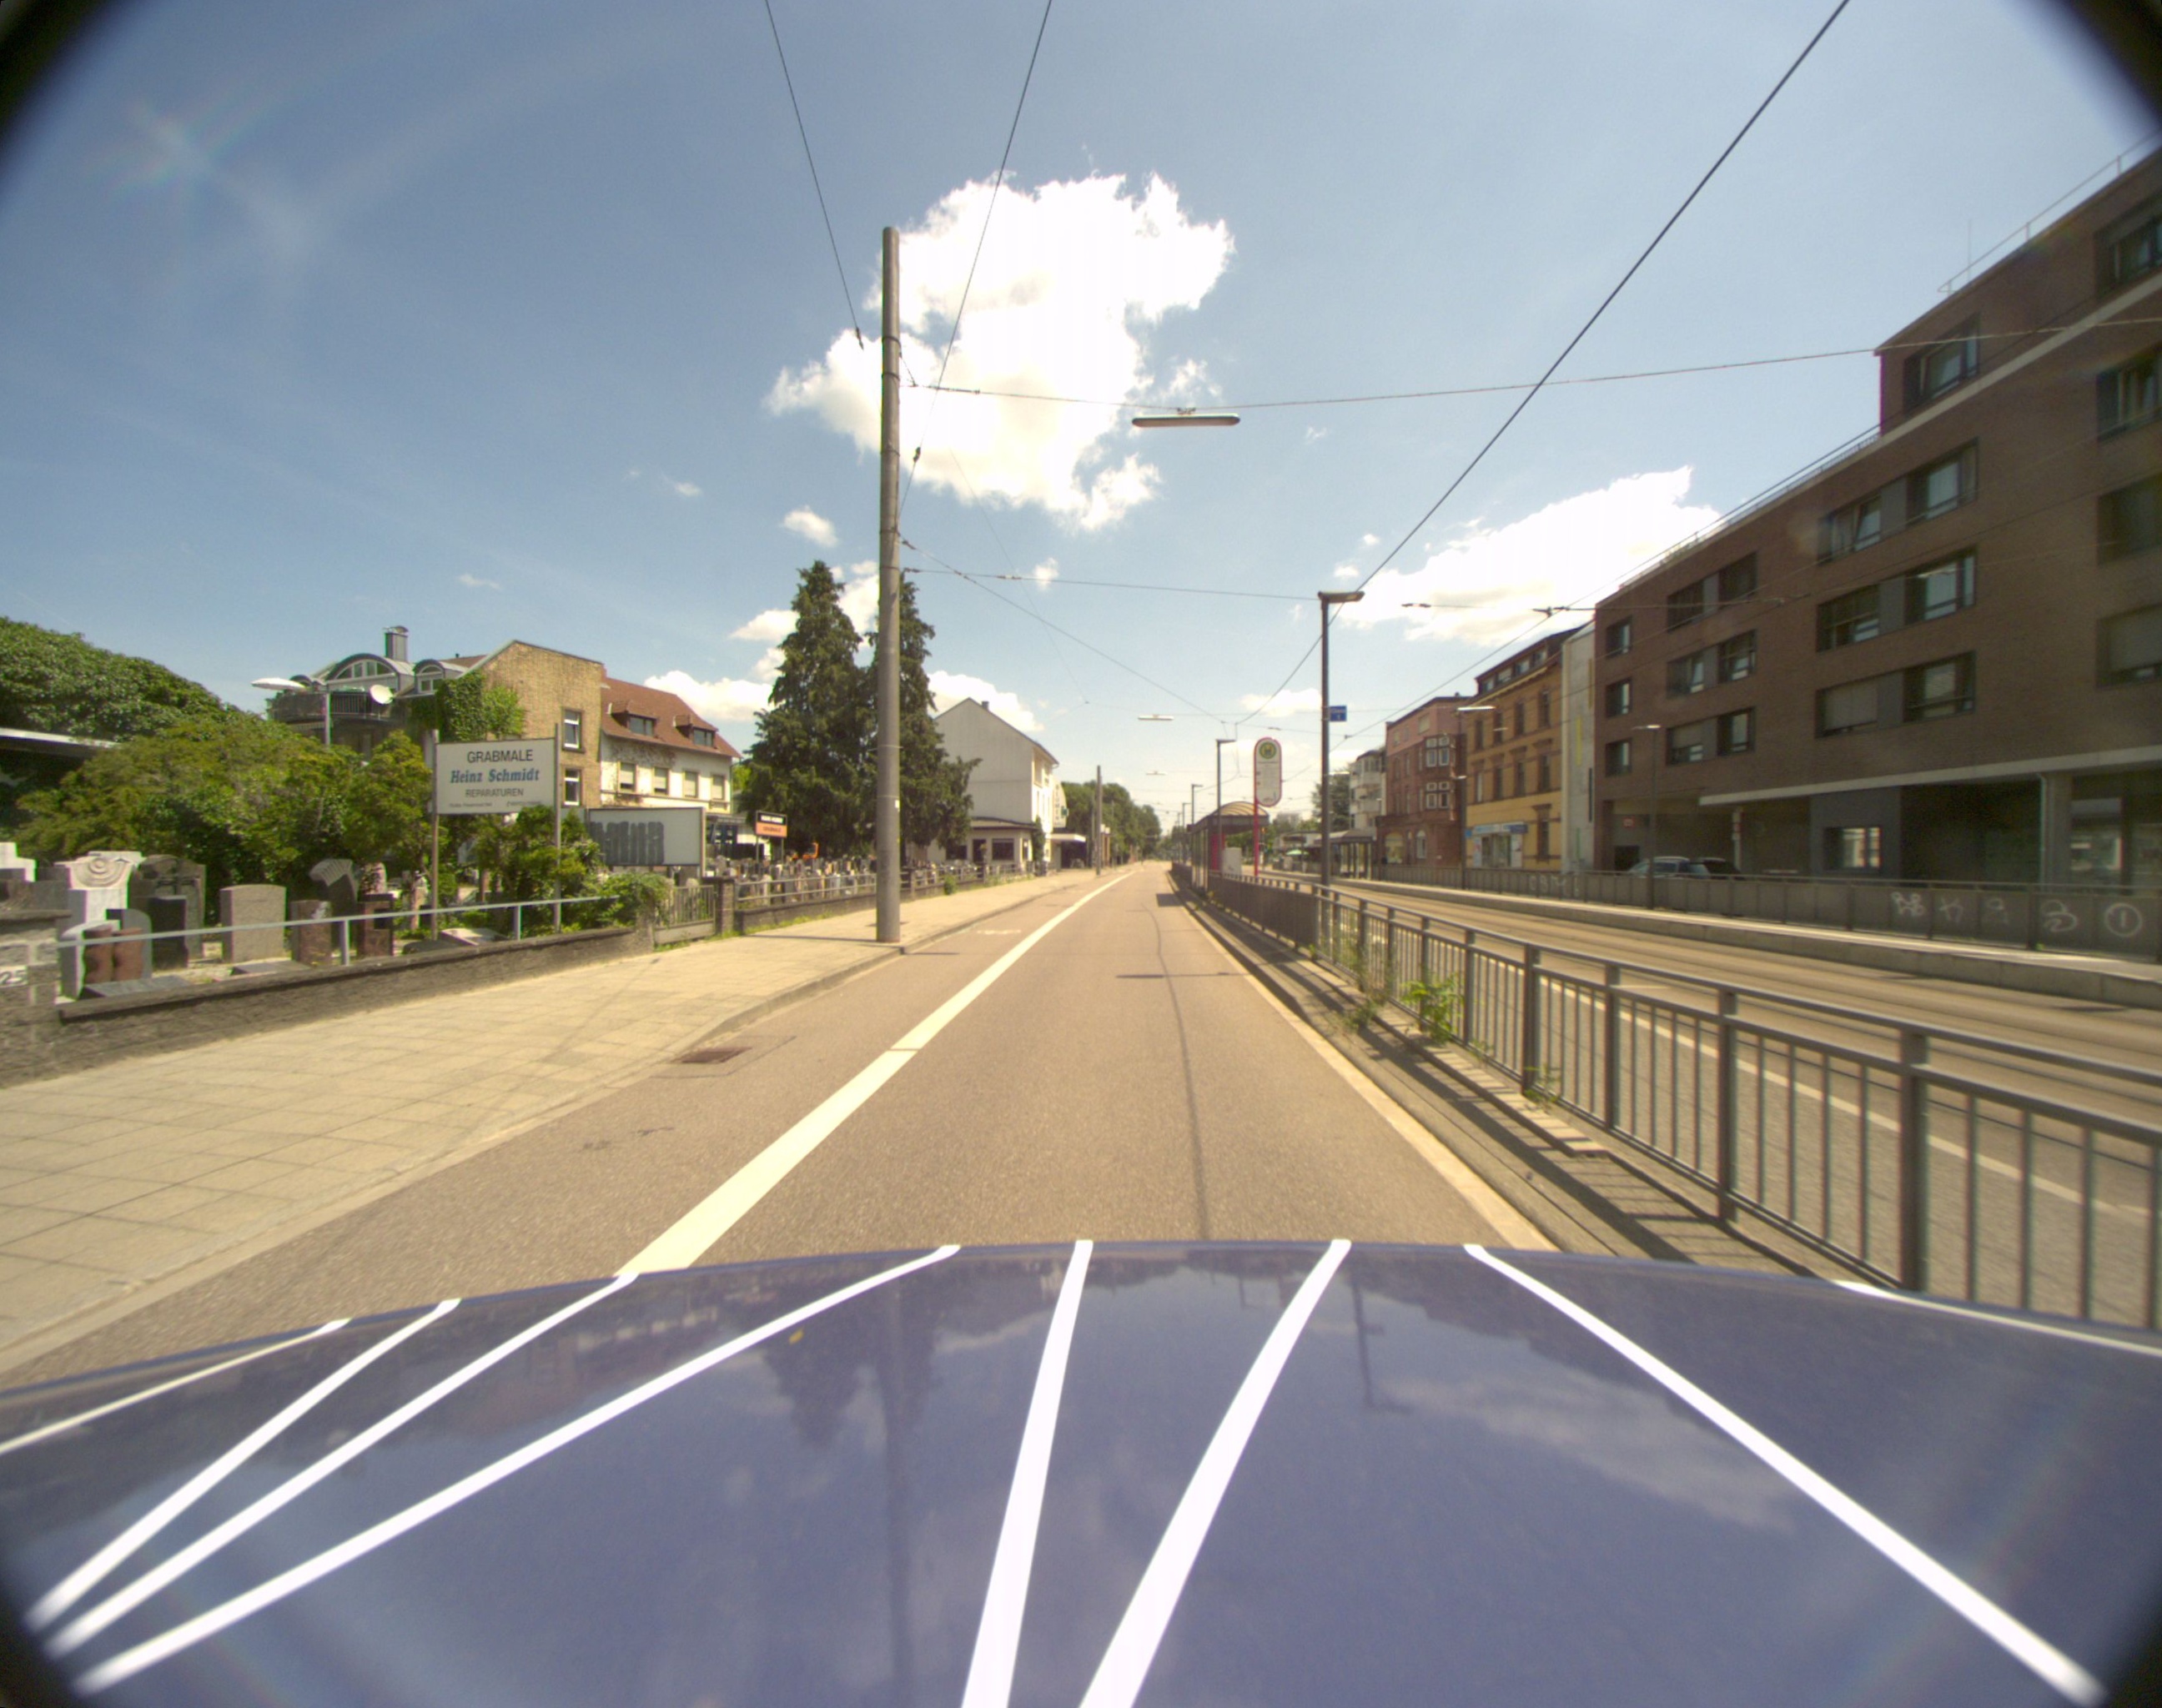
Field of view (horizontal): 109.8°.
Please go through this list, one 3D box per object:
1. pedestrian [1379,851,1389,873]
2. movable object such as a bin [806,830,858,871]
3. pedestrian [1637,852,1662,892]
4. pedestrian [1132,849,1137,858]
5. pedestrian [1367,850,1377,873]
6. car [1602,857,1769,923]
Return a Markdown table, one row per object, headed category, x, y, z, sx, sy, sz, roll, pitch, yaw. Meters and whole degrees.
| category | x | y | z | sx | sy | sz | roll | pitch | yaw |
| --- | --- | --- | --- | --- | --- | --- | --- | --- | --- |
| pedestrian | 27.186 | 0.691 | 68.145 | 0.619 | 2.002 | 0.810 | 0 | 1 | 4 |
| movable object such as a bin | -16.668 | -0.221 | 50.992 | 1.743 | 2.604 | 3.811 | 2 | 1 | 8 |
| pedestrian | 20.032 | 0.639 | 26.788 | 0.436 | 1.376 | 0.536 | 2 | 1 | 6 |
| pedestrian | 10.291 | -0.085 | 146.345 | 0.766 | 1.841 | 0.718 | 0 | 1 | 3 |
| pedestrian | 26.159 | 0.678 | 68.270 | 0.678 | 2.002 | 0.685 | -1 | 1 | 4 |
| car | 17.065 | 0.942 | 21.715 | 1.841 | 1.618 | 3.773 | 2 | 1 | 4 |
